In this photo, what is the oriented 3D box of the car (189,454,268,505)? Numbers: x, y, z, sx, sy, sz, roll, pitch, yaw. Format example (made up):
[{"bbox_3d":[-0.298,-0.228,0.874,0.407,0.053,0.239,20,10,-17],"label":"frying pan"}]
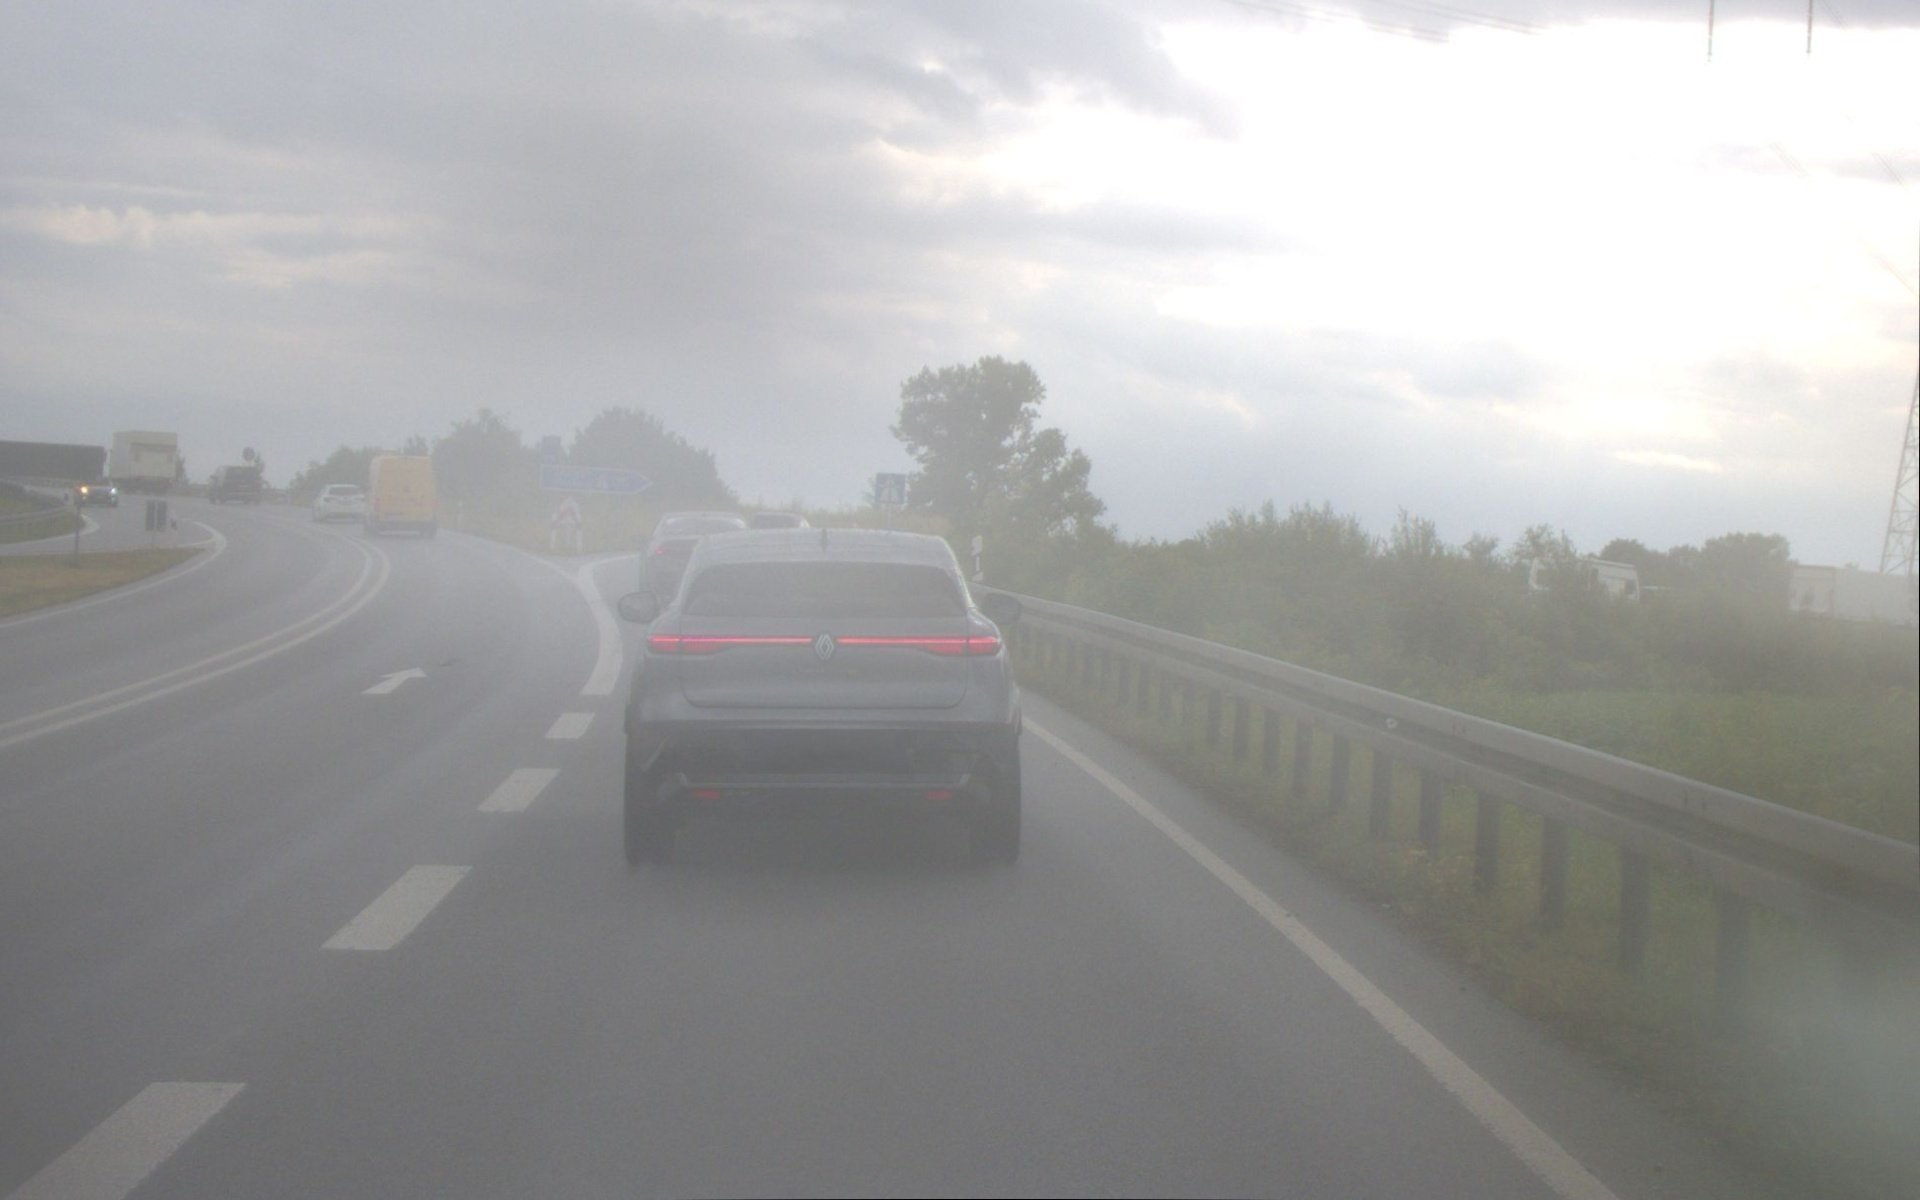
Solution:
[{"bbox_3d":[-35.692,-5.867,167.726,2.601,2.243,5.536,2,0,-24],"label":"car"}]

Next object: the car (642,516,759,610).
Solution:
[{"bbox_3d":[-4.196,-0.608,55.423,1.791,1.436,4.001,1,1,-5],"label":"car"}]

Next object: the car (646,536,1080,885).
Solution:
[{"bbox_3d":[-0.451,0.446,16.394,1.791,1.436,4.000,1,0,-1],"label":"car"}]

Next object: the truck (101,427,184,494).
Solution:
[{"bbox_3d":[-46.086,-7.822,193.677,3.045,3.373,7.645,2,0,-24],"label":"truck"}]

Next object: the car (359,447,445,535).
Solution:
[{"bbox_3d":[-17.770,-3.504,109.464,2.572,2.716,7.199,-1,2,-9],"label":"car"}]

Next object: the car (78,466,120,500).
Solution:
[{"bbox_3d":[-38.622,-5.247,154.159,1.744,1.361,4.051,-2,1,-15],"label":"car"}]

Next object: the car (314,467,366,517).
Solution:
[{"bbox_3d":[-23.265,-4.043,128.958,1.791,1.682,4.001,1,0,-11],"label":"car"}]
